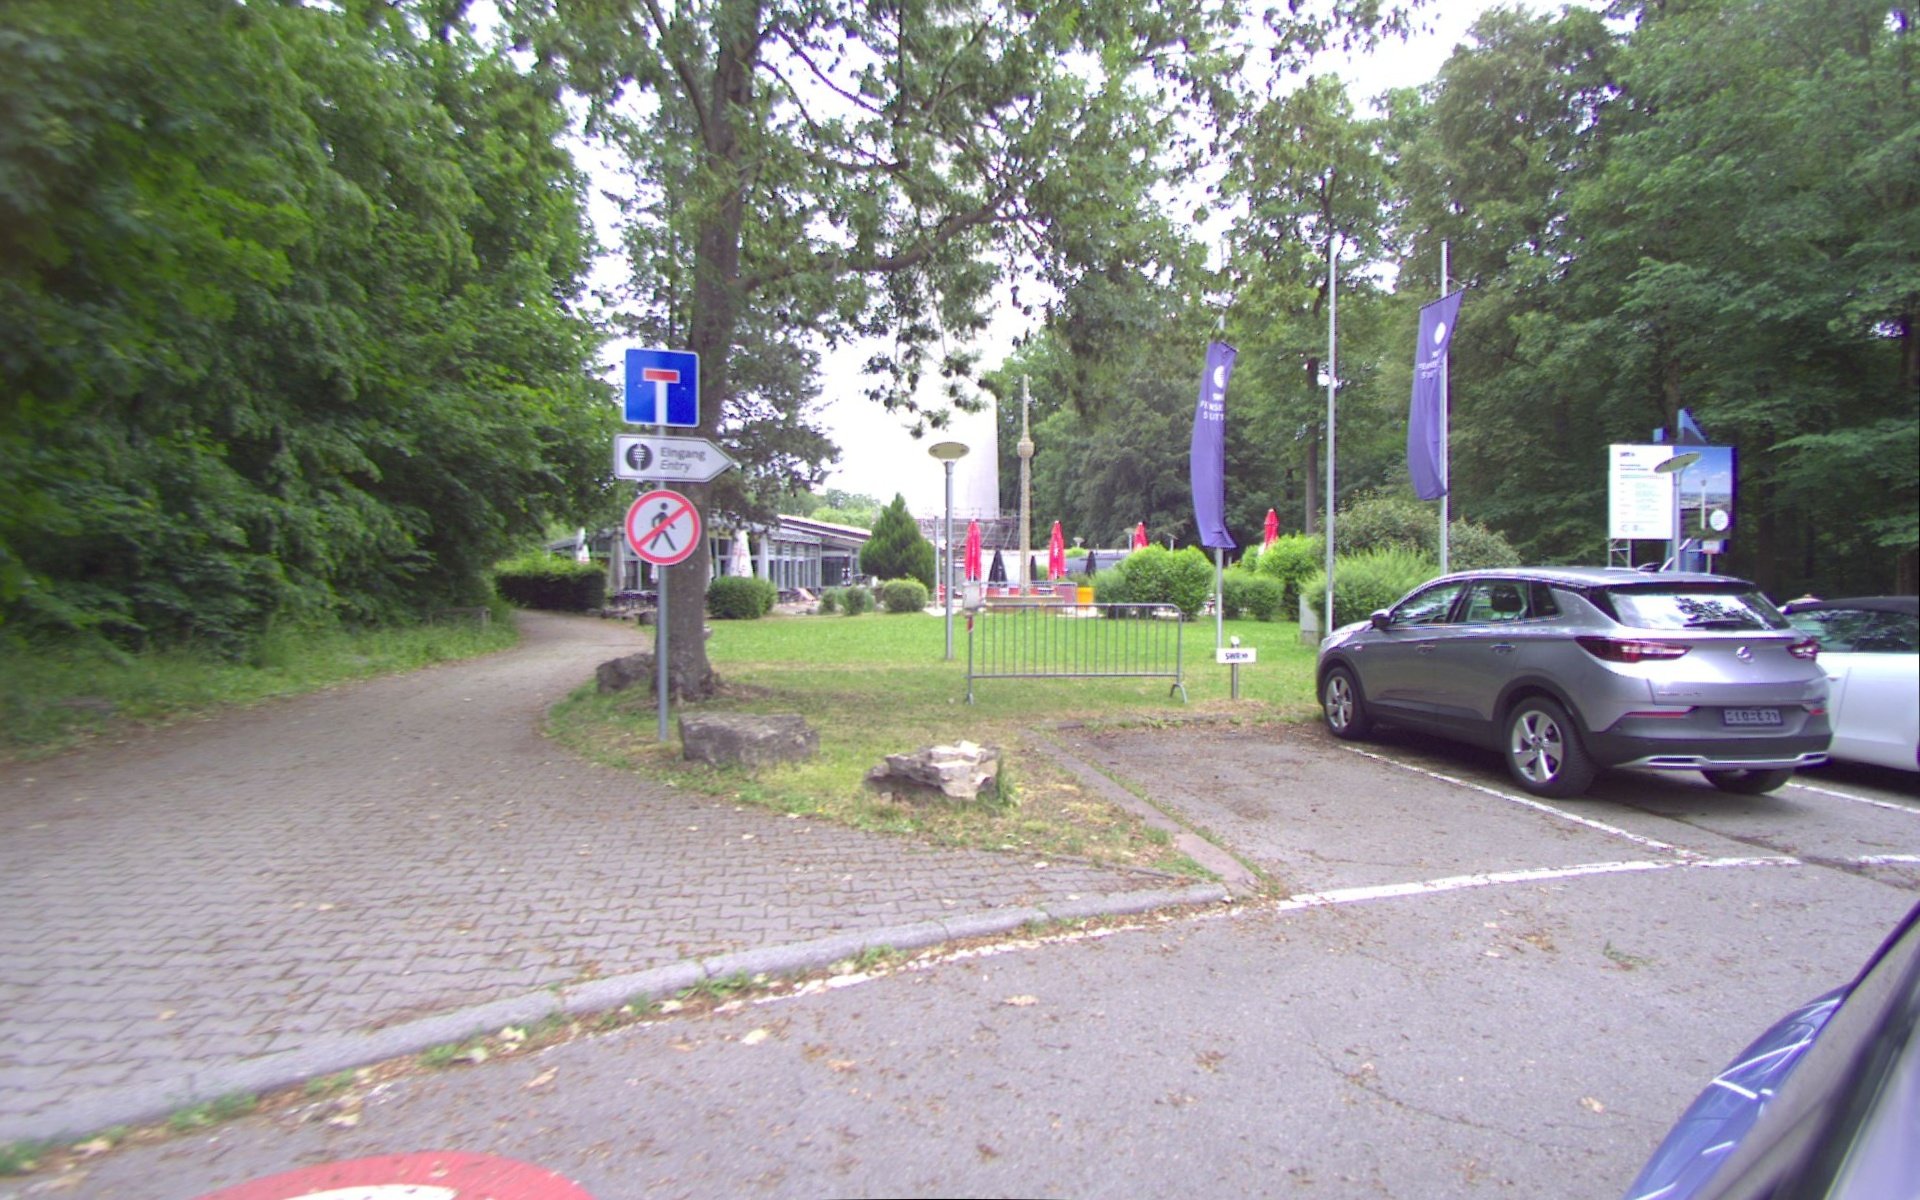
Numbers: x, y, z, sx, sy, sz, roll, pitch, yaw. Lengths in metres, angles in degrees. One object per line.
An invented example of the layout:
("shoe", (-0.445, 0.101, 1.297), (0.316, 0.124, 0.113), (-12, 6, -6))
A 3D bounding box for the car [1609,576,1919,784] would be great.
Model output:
("car", (7.496, 0.539, 7.930), (1.860, 1.446, 4.007), (0, 1, -8))

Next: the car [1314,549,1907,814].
("car", (4.744, 0.440, 8.231), (1.860, 1.604, 4.007), (0, 1, -8))
